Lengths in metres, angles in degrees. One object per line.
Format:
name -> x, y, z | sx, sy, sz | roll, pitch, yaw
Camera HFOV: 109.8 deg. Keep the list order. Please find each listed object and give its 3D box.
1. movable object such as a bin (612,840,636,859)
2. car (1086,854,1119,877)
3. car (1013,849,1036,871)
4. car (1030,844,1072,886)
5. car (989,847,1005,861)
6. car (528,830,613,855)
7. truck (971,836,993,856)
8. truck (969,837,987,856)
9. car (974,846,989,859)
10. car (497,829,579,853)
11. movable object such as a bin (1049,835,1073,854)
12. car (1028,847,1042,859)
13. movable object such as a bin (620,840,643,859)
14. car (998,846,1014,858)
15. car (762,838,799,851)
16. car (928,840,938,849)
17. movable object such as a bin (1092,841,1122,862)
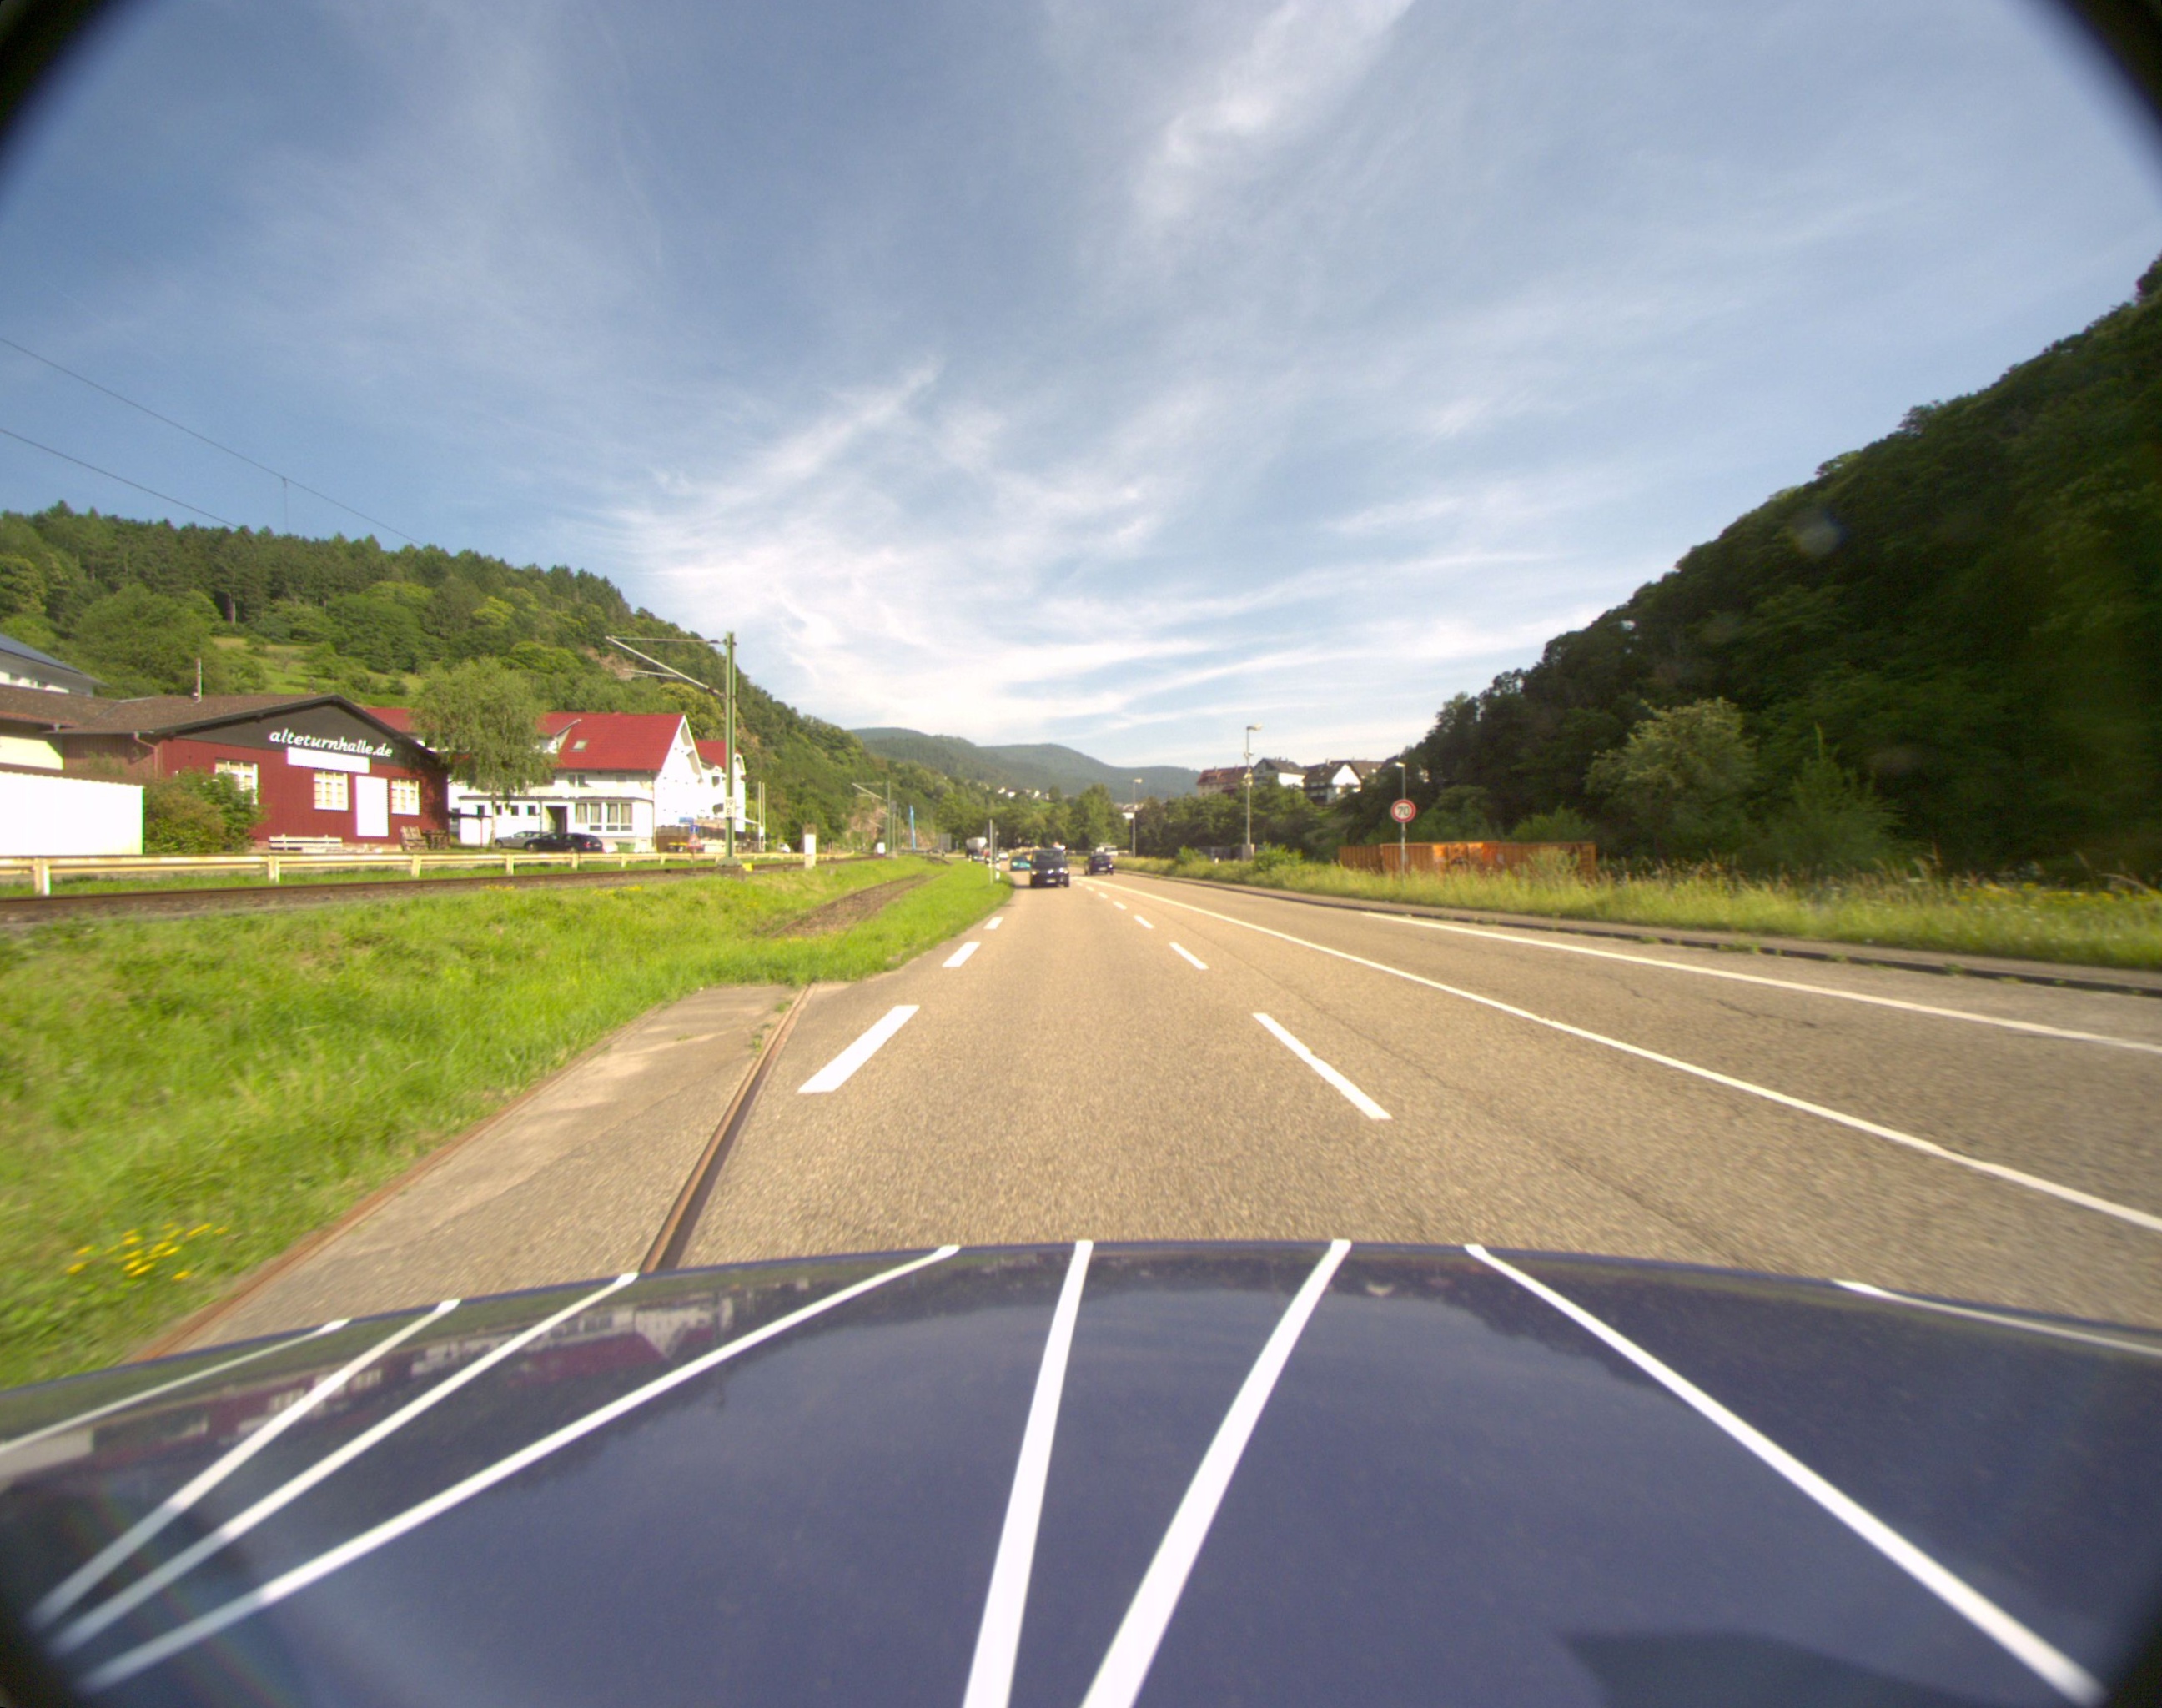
movable object such as a bin -> -26.484, -0.260, 44.041 | 0.810, 1.044, 0.911 | -2, 0, -5
car -> 1.505, 0.824, 55.583 | 1.853, 1.575, 4.314 | -2, 0, -5
car -> -5.554, 0.586, 74.264 | 2.000, 2.002, 3.997 | 2, 0, -6
car -> -1.503, 0.580, 38.562 | 1.999, 2.001, 4.000 | 0, -1, -2
car -> -12.037, -0.006, 108.865 | 2.000, 2.002, 3.996 | 2, 0, -10
car -> -32.130, -0.724, 47.893 | 3.998, 1.368, 1.825 | 2, 0, -3
truck -> -20.183, -1.563, 154.470 | 2.760, 3.813, 14.542 | -2, 1, -14
truck -> -21.912, -1.632, 161.464 | 2.760, 3.813, 8.187 | -2, 1, -13
car -> -16.820, -0.266, 128.036 | 2.001, 2.002, 3.994 | 2, 0, -16
car -> -35.947, -0.833, 50.399 | 3.999, 1.368, 1.824 | 3, 0, -5
movable object such as a bin -> -4.417, -1.952, 163.577 | 2.734, 3.924, 7.215 | 2, 0, -22
car -> -6.440, -0.167, 106.615 | 1.729, 1.615, 3.794 | -2, 0, -6
movable object such as a bin -> -26.594, -0.262, 44.948 | 0.810, 1.044, 0.911 | -2, 0, -5
car -> -12.605, -0.321, 127.035 | 2.001, 2.002, 3.994 | 2, 0, -15
car -> -37.468, -1.158, 94.728 | 4.002, 1.521, 1.998 | 1, -1, -14
car -> -36.165, -2.268, 185.277 | 2.002, 2.002, 3.993 | 2, 0, -18
movable object such as a bin -> 5.036, -0.518, 148.950 | 2.911, 3.924, 7.793 | 2, 0, -22
